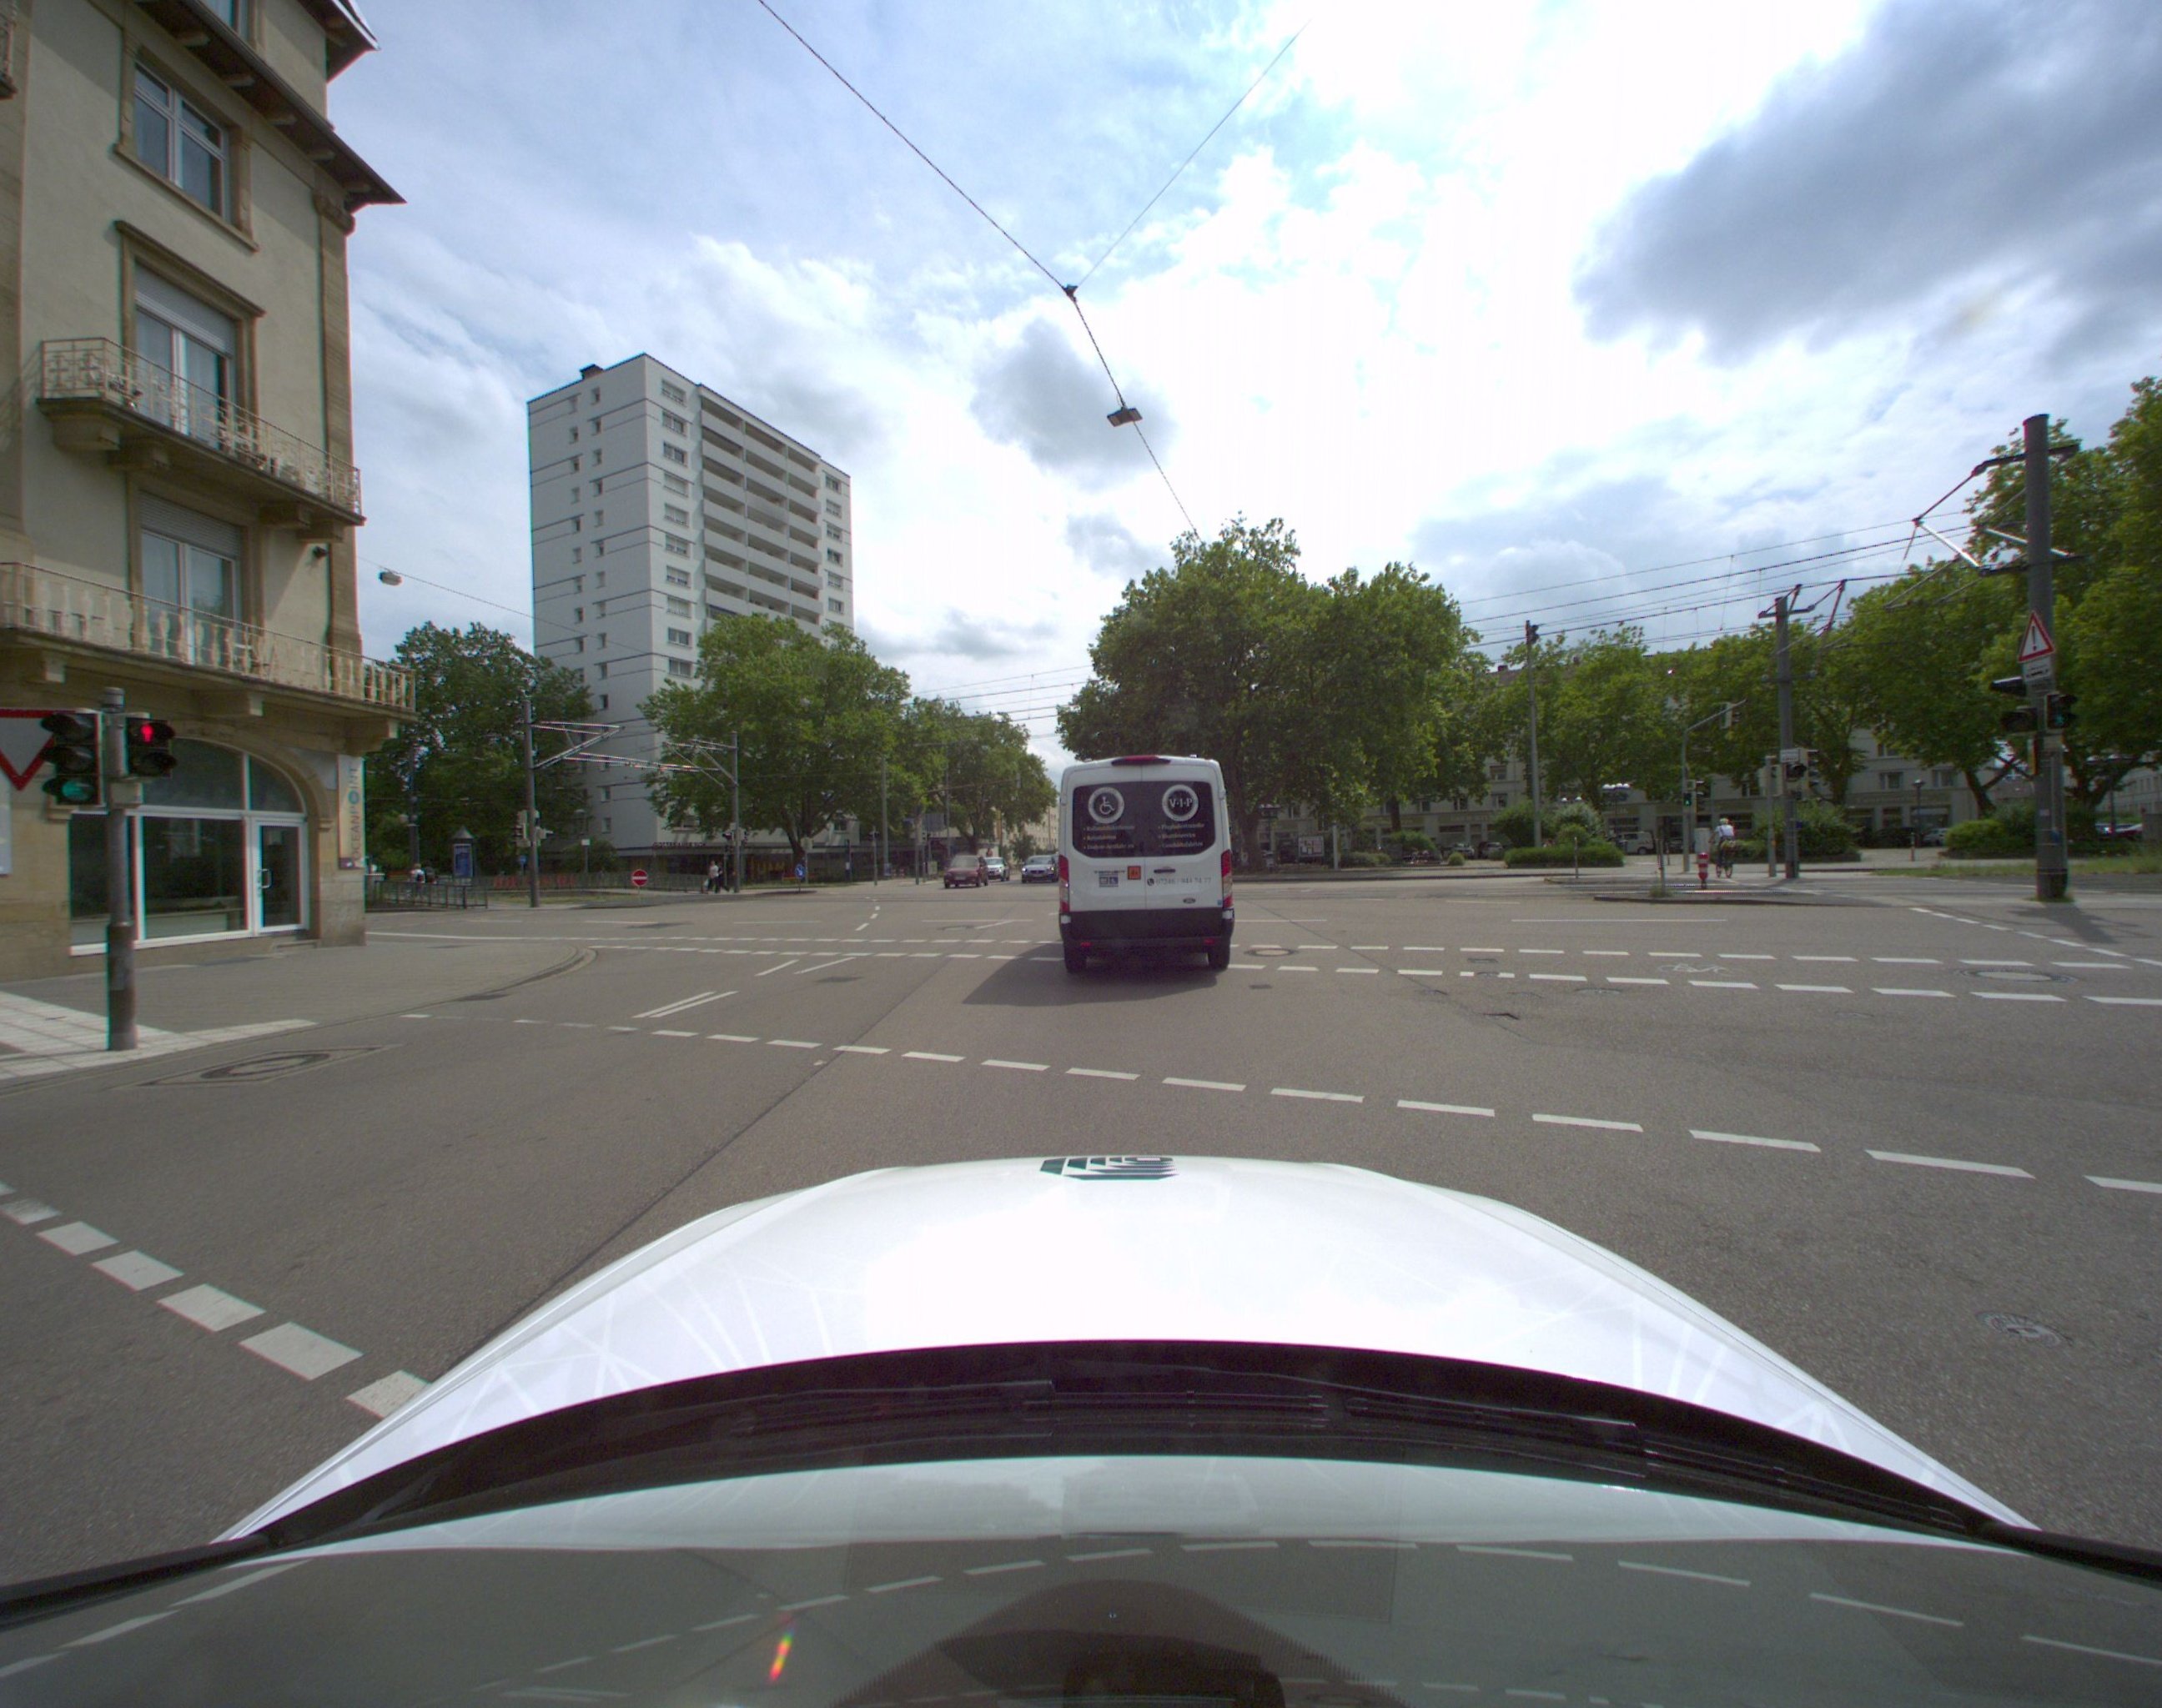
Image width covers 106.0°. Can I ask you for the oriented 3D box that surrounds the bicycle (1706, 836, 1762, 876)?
[{"bbox_3d":[18.680,0.031,23.333,0.894,1.075,1.982,-2,0,29],"label":"bicycle"}]

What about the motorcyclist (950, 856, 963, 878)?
[{"bbox_3d":[-8.037,0.815,52.635,0.680,1.395,0.682,-2,0,1],"label":"motorcyclist"}]

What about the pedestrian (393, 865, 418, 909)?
[{"bbox_3d":[-29.453,1.426,35.495,0.542,1.869,0.577,-2,0,19],"label":"pedestrian"}]

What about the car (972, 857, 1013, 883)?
[{"bbox_3d":[-5.310,0.920,49.363,1.735,1.427,4.035,-2,0,3],"label":"car"}]

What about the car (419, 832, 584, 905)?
[{"bbox_3d":[-34.076,0.906,47.821,9.793,3.915,3.476,-2,0,25],"label":"car"}]

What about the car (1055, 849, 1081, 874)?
[{"bbox_3d":[-1.058,0.597,69.138,1.735,1.930,4.858,-2,0,3],"label":"car"}]

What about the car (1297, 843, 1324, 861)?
[{"bbox_3d":[22.315,-0.174,79.406,1.796,1.684,4.007,-2,0,6],"label":"car"}]

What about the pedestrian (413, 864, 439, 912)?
[{"bbox_3d":[-29.153,1.501,36.245,0.585,2.086,0.657,-2,0,19],"label":"pedestrian"}]

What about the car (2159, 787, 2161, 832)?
[{"bbox_3d":[64.478,-2.673,45.029,5.272,2.585,2.512,-2,-1,23],"label":"car"}]

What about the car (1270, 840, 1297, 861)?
[{"bbox_3d":[19.842,-0.304,80.017,1.984,1.930,4.007,-2,0,6],"label":"car"}]

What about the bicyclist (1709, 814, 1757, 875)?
[{"bbox_3d":[18.664,-0.274,23.317,0.895,1.683,0.761,-2,0,27],"label":"bicyclist"}]

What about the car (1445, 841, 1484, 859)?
[{"bbox_3d":[34.558,-0.350,73.513,1.984,1.503,4.007,-2,0,6],"label":"car"}]

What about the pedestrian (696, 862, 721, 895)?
[{"bbox_3d":[-18.195,1.181,39.738,0.799,1.572,0.728,-2,0,30],"label":"pedestrian"}]

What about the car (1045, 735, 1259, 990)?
[{"bbox_3d":[0.764,0.056,11.140,2.175,2.647,4.627,-3,1,0],"label":"car"}]

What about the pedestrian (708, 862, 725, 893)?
[{"bbox_3d":[-18.420,1.201,41.166,0.724,1.514,0.926,-2,0,-22],"label":"pedestrian"}]

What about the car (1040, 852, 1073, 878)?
[{"bbox_3d":[-1.616,0.700,54.804,1.735,1.587,4.333,-2,0,3],"label":"car"}]

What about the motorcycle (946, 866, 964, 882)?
[{"bbox_3d":[-8.030,1.265,51.979,0.680,0.971,2.324,-2,0,1],"label":"motorcycle"}]

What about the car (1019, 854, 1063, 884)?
[{"bbox_3d":[-2.039,0.742,43.012,1.824,1.427,4.124,-2,0,3],"label":"car"}]

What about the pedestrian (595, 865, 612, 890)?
[{"bbox_3d":[-36.279,1.803,61.875,0.755,1.884,0.745,-2,0,27],"label":"pedestrian"}]

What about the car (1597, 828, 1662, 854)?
[{"bbox_3d":[42.852,-1.002,63.742,3.950,1.883,1.868,-2,0,25],"label":"car"}]

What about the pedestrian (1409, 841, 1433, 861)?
[{"bbox_3d":[23.273,-0.200,55.822,1.086,1.236,1.443,-4,-1,5],"label":"pedestrian"}]

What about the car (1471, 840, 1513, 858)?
[{"bbox_3d":[36.785,-0.437,72.990,1.984,1.519,4.007,-2,0,6],"label":"car"}]

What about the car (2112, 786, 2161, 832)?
[{"bbox_3d":[65.377,-2.733,47.860,5.272,2.585,2.512,-2,-1,23],"label":"car"}]

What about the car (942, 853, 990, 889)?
[{"bbox_3d":[-5.267,0.736,37.774,1.586,1.507,3.807,-2,0,1],"label":"car"}]
